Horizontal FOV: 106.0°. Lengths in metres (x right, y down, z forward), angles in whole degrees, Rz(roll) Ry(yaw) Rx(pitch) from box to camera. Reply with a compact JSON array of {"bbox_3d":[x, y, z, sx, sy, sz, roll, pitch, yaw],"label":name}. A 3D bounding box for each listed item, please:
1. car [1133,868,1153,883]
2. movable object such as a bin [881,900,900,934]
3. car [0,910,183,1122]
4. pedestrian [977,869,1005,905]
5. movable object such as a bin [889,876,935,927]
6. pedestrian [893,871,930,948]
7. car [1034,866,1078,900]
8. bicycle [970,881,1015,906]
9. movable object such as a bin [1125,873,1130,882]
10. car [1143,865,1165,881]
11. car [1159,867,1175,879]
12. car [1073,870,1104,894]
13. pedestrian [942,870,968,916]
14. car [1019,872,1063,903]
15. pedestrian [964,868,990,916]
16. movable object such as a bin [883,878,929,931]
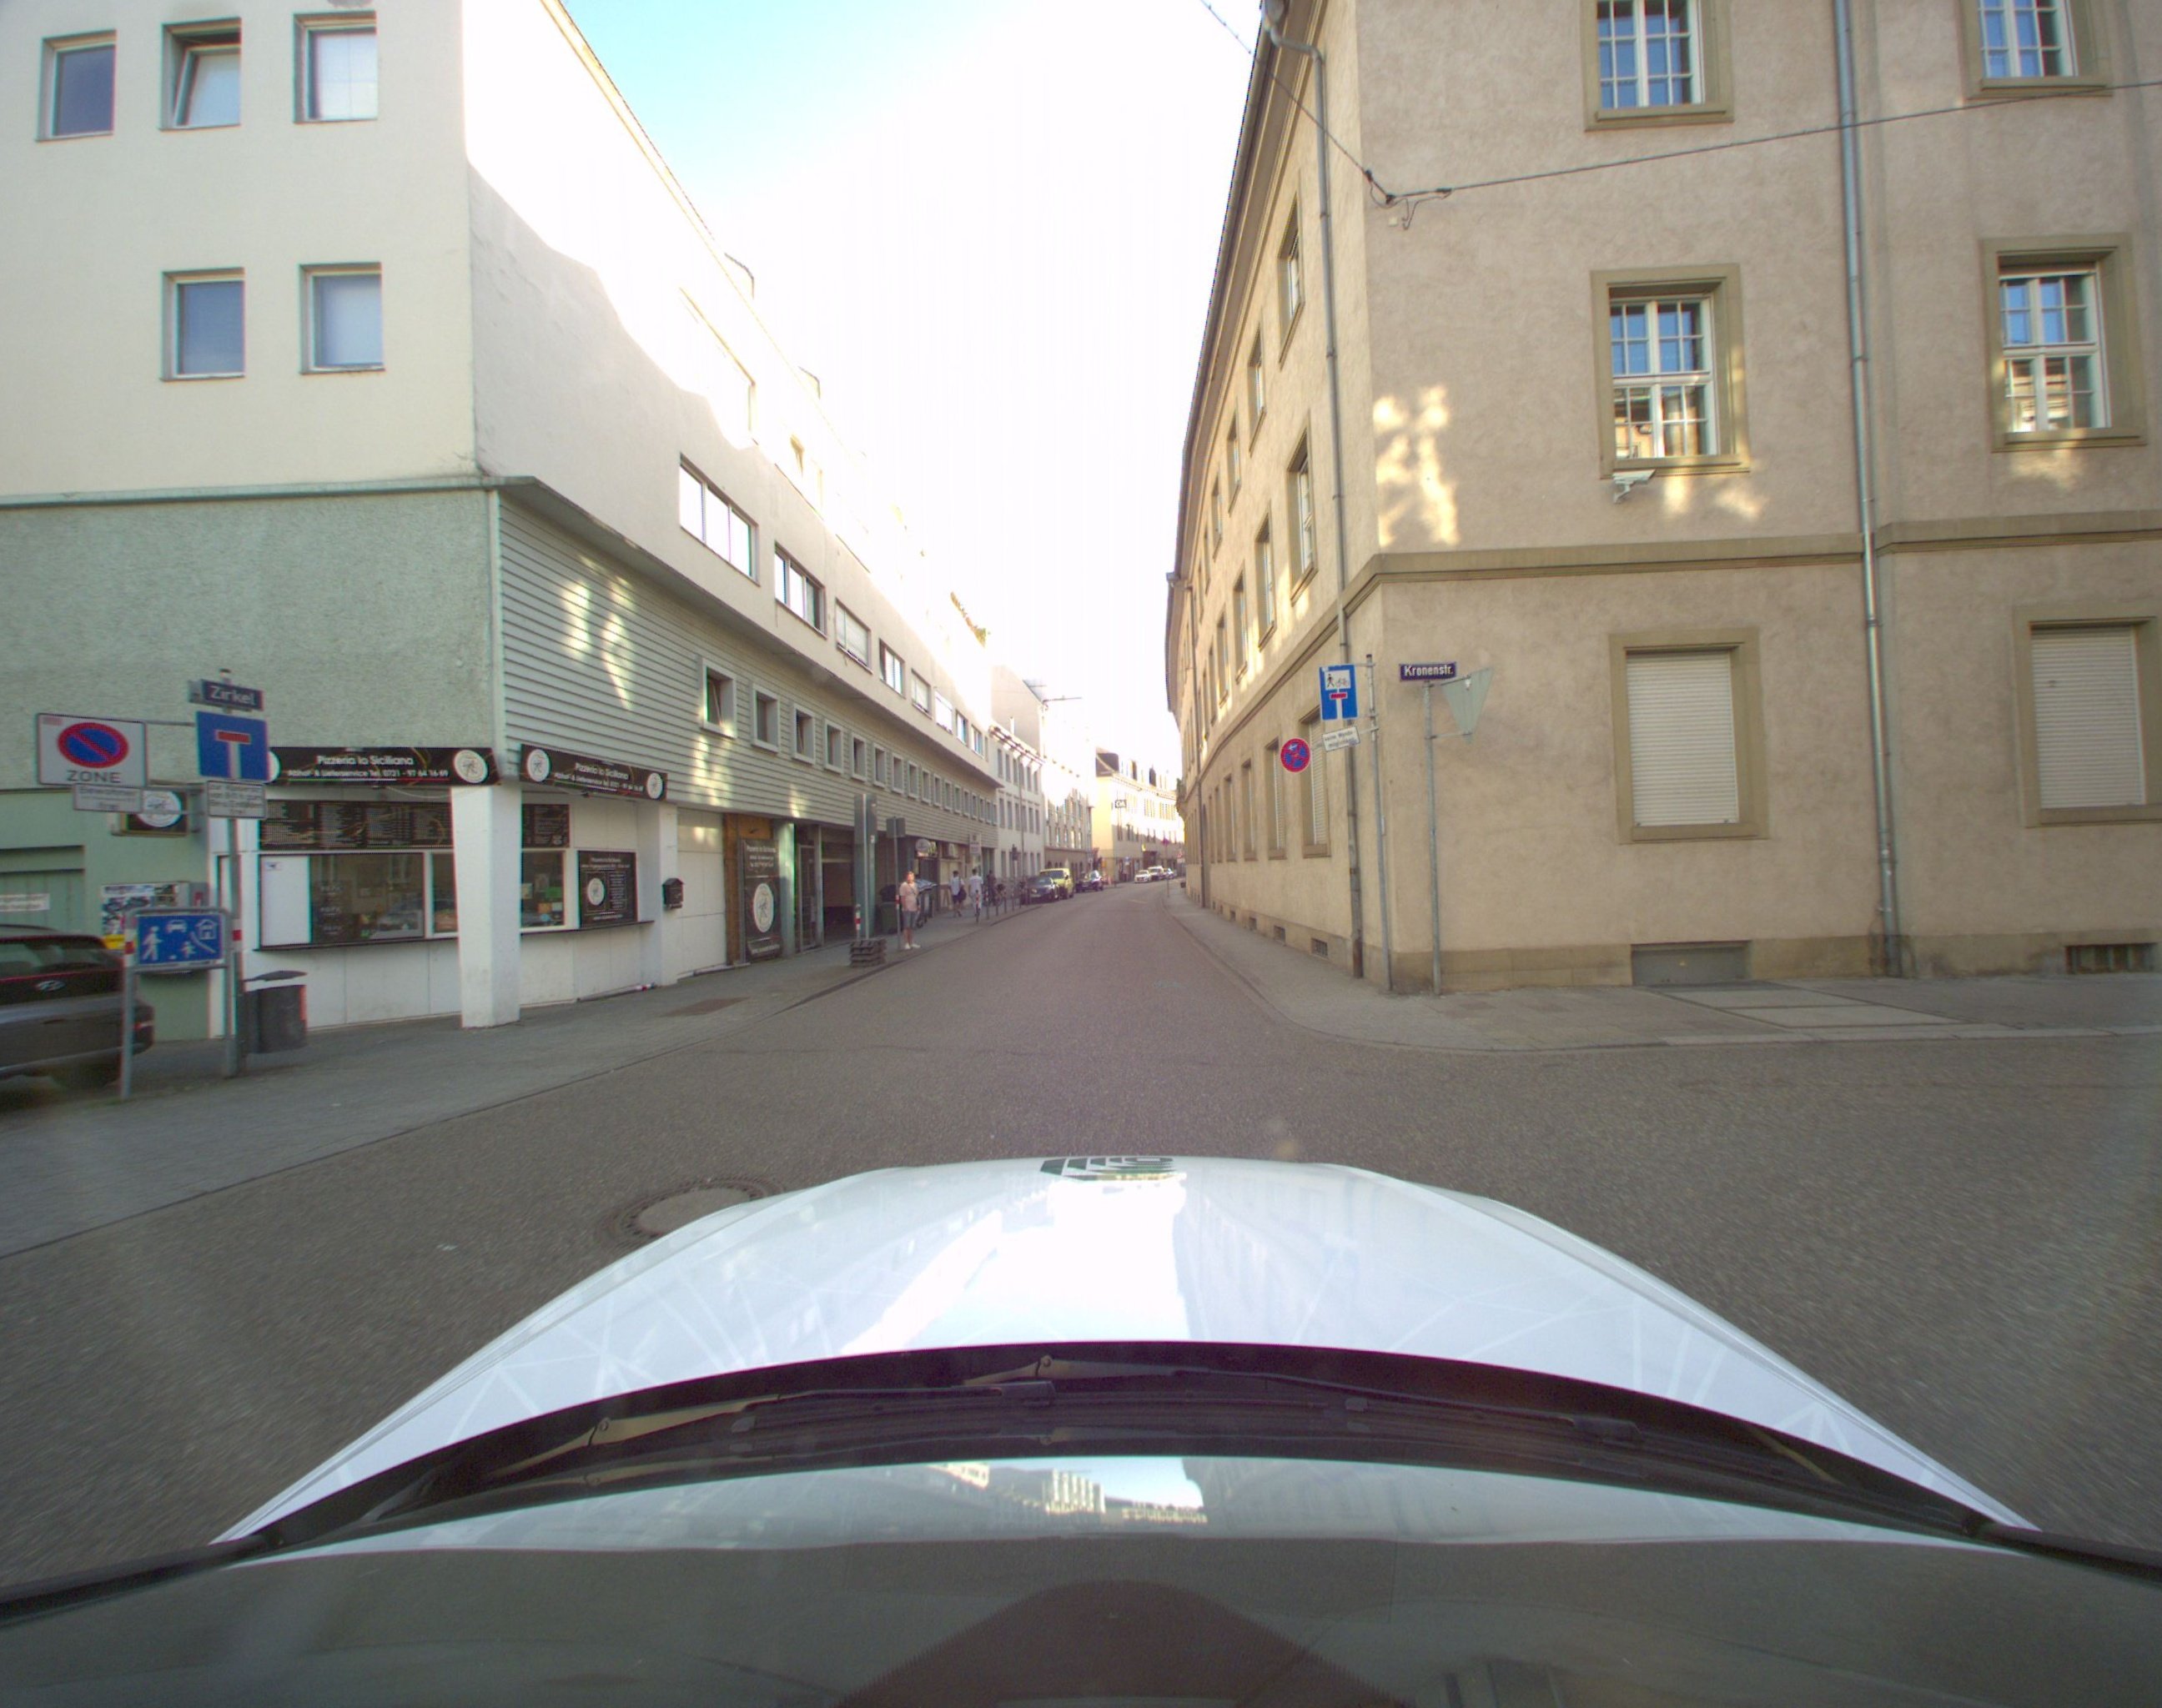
[{"bbox_3d":[7.373,2.540,96.704,1.659,1.507,3.806,-4,-1,12],"label":"car"},{"bbox_3d":[-5.584,1.840,23.897,0.391,0.942,0.467,-2,-1,2],"label":"movable object such as a bin"},{"bbox_3d":[-10.049,1.327,6.478,3.918,1.520,1.693,-2,-1,0],"label":"car"},{"bbox_3d":[-4.558,1.670,41.338,1.067,1.728,0.807,-3,-2,27],"label":"pedestrian"},{"bbox_3d":[-5.448,1.522,26.349,1.118,1.520,1.343,-2,0,2],"label":"movable object such as a bin"},{"bbox_3d":[-3.748,1.216,18.061,0.631,1.670,0.487,1,-2,-44],"label":"pedestrian"},{"bbox_3d":[-1.491,1.746,50.514,1.870,1.867,4.872,-5,-1,6],"label":"car"},{"bbox_3d":[-4.516,2.009,41.315,2.108,1.163,0.828,-3,-2,27],"label":"bicycle"},{"bbox_3d":[5.613,2.841,98.227,0.605,1.061,0.715,0,-1,9],"label":"movable object such as a bin"},{"bbox_3d":[9.229,2.379,102.337,1.657,1.819,4.572,-4,-1,17],"label":"car"},{"bbox_3d":[11.430,2.481,108.225,1.261,1.507,3.417,-4,-1,18],"label":"car"},{"bbox_3d":[0.657,2.235,66.504,1.729,1.711,4.202,-5,-1,10],"label":"car"},{"bbox_3d":[-4.729,1.460,30.642,0.669,1.670,0.896,-3,-2,5],"label":"pedestrian"},{"bbox_3d":[-2.149,1.828,44.971,1.811,1.486,4.081,-5,-1,4],"label":"car"},{"bbox_3d":[-3.896,1.418,30.586,0.694,1.734,0.830,-4,-2,5],"label":"pedestrian"},{"bbox_3d":[-5.326,1.521,24.900,0.964,1.471,1.475,-2,0,3],"label":"movable object such as a bin"}]
